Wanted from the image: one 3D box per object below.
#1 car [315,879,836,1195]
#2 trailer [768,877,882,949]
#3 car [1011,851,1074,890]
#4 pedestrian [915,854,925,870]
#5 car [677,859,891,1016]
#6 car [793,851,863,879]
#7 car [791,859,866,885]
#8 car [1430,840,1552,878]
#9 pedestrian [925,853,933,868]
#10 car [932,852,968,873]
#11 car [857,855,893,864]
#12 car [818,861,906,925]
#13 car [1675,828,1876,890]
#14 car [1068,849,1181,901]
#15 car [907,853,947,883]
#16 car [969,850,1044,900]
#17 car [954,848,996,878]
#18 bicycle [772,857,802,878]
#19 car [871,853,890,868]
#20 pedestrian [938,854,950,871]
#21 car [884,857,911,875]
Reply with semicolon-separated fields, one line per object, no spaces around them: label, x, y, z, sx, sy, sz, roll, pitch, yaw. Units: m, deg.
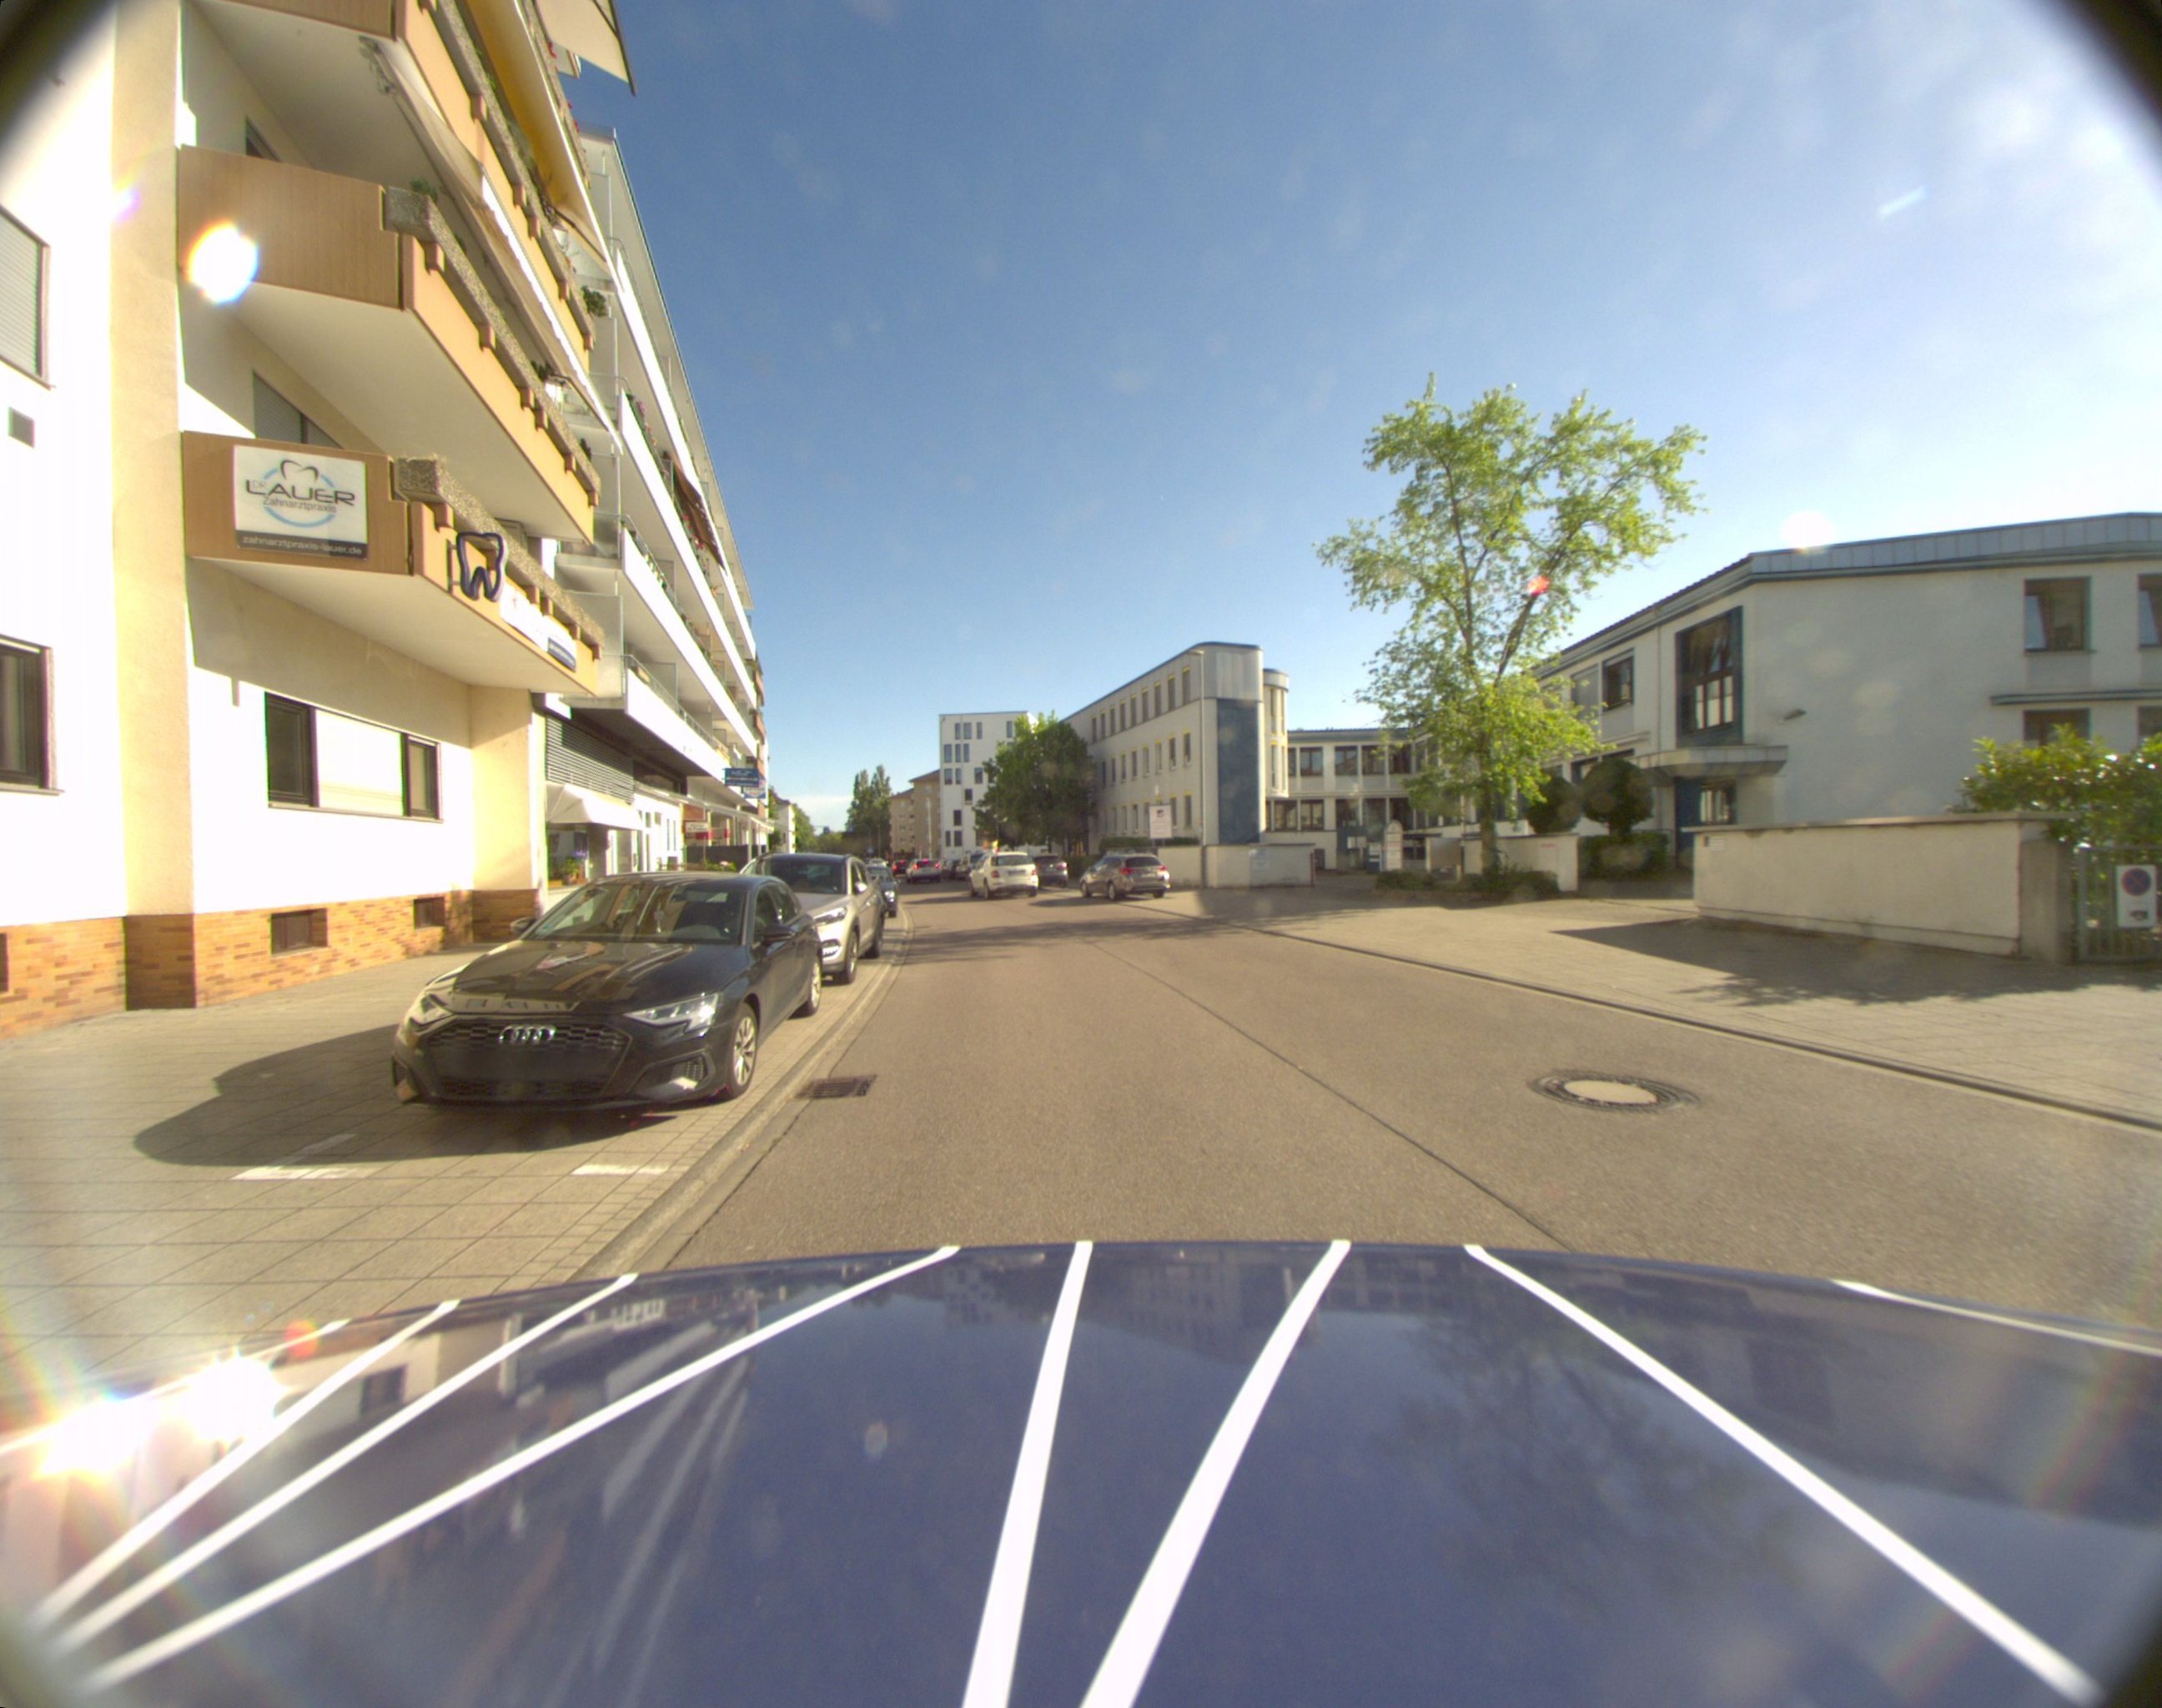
car;-3.196;0.982;5.967;1.723;1.400;4.311;1;0;-9
trailer;-5.147;1.133;15.627;1.608;1.171;2.940;-1;1;-7
car;-1.834;0.709;34.515;1.726;1.577;4.414;-2;1;-18
pedestrian;-21.311;1.062;100.558;0.777;2.109;0.956;-3;2;-40
car;-3.839;0.933;10.689;1.823;1.643;4.556;-1;0;-9
car;-18.254;0.784;55.045;2.044;1.887;4.539;2;1;30
car;-15.905;1.077;48.118;1.686;1.457;4.655;1;1;28
car;18.021;0.209;33.524;4.334;1.531;1.925;-2;0;-1
pedestrian;-19.657;0.791;98.382;0.791;1.875;0.846;-1;3;-4
car;-10.295;0.647;59.622;1.916;1.521;4.616;-2;1;-21
car;-30.213;0.824;111.487;1.994;1.160;4.572;-1;2;42
car;-6.151;1.007;21.902;1.978;1.442;4.997;-1;1;-11
car;18.040;0.048;20.024;1.761;1.413;3.846;-1;3;0
car;1.324;0.658;25.577;2.002;1.525;4.910;-2;0;-20
car;-10.295;0.893;50.549;1.927;1.715;4.327;-2;3;-20
car;-3.018;0.762;29.891;1.997;1.775;4.512;-1;0;-18
car;-7.044;0.570;50.078;1.695;1.828;4.333;-2;1;-21
bicycle;-18.361;0.853;47.540;0.705;1.246;2.263;-2;-1;8
car;-21.932;0.696;83.107;1.733;1.476;4.100;6;-2;-17
pedestrian;-13.925;0.908;77.481;0.978;1.704;0.873;-1;1;3
car;-16.164;1.015;66.840;1.747;1.504;3.723;-1;0;-21
